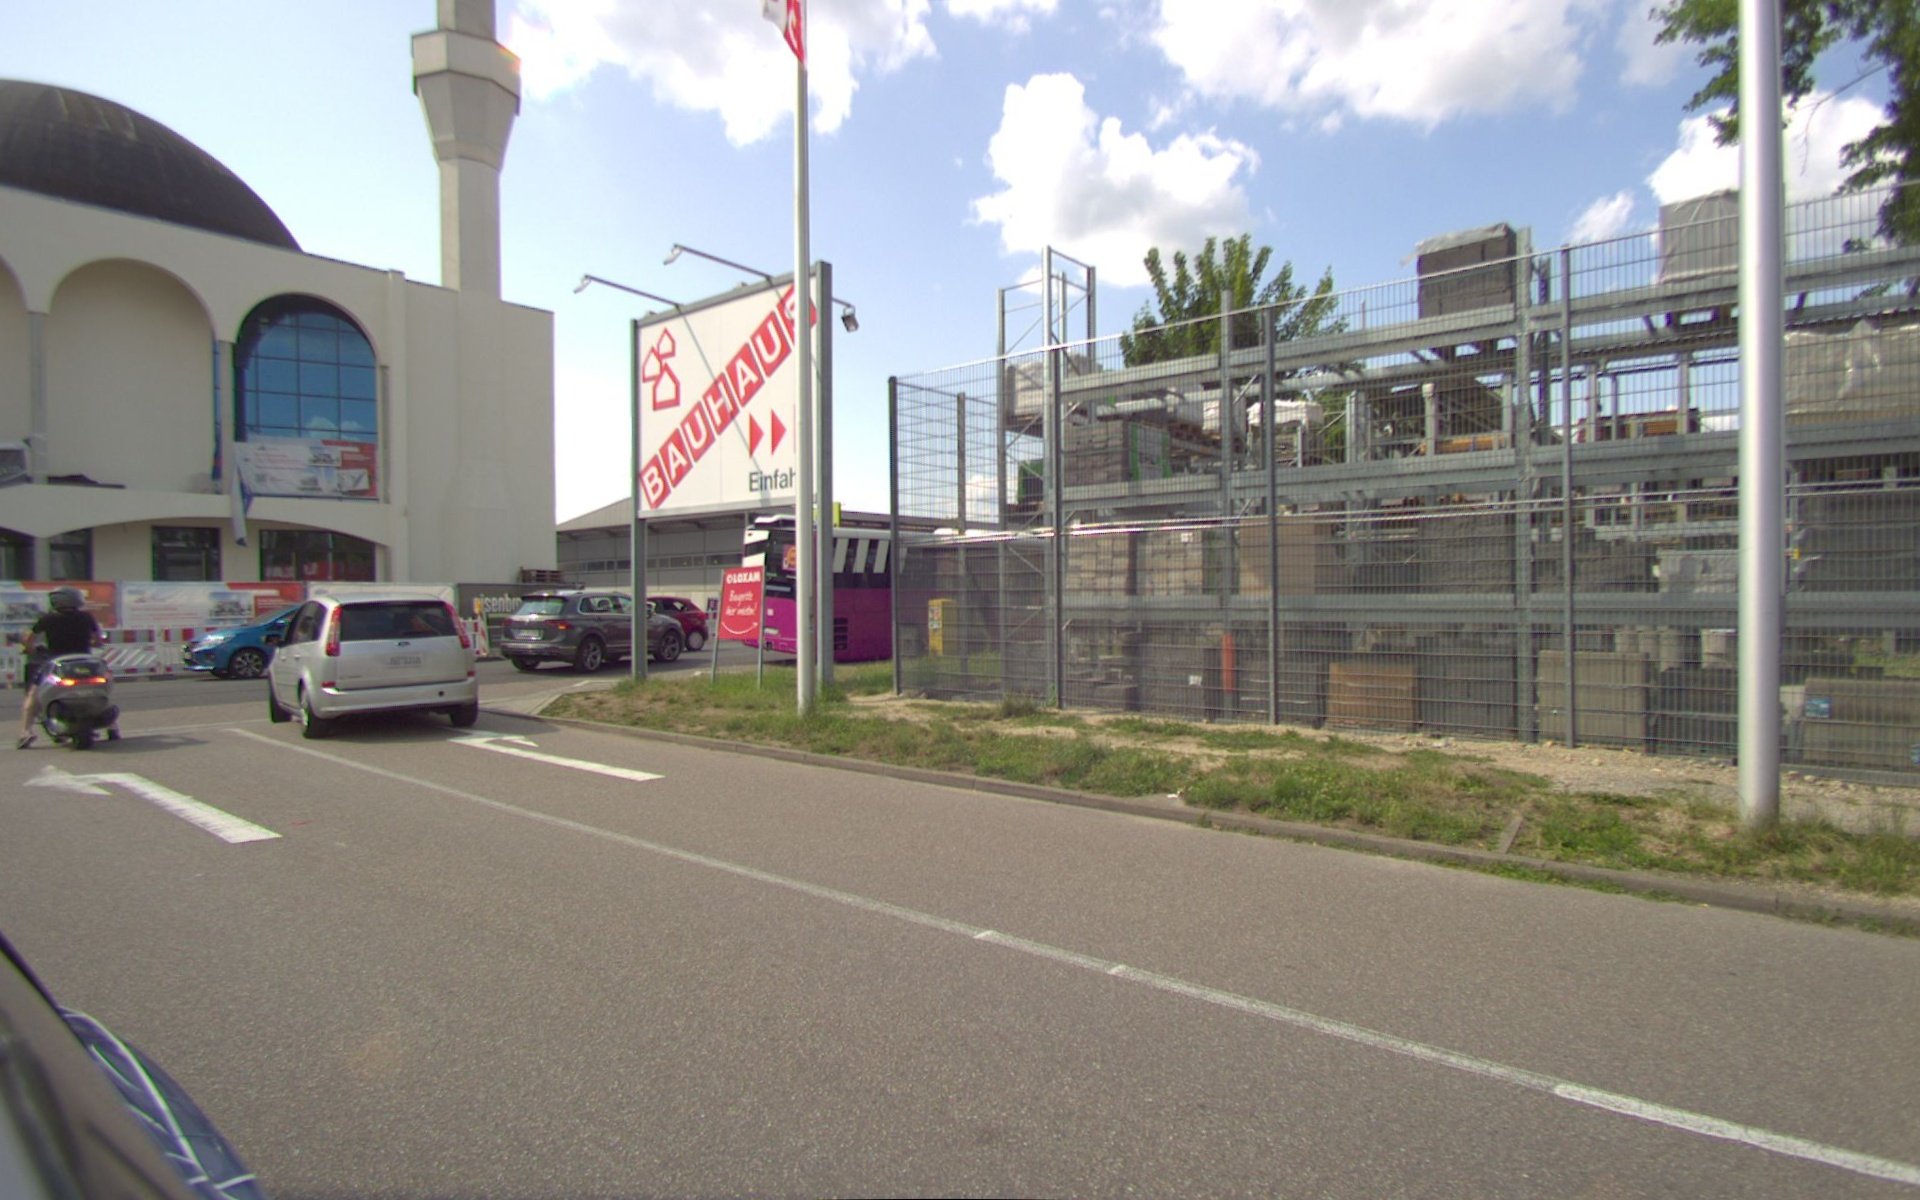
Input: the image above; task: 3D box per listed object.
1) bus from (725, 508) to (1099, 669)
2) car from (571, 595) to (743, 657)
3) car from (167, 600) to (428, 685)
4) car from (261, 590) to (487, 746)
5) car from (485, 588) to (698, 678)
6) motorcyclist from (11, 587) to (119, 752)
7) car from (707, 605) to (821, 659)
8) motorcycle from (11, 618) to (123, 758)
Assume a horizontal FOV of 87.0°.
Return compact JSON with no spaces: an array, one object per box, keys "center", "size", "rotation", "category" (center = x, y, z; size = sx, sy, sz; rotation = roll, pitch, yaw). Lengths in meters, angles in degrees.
[{"center":[-0.638,-0.275,26.656],"size":[2.891,3.390,11.414],"rotation":[-1,0,40],"category":"bus"},{"center":[-8.055,0.648,27.215],"size":[1.790,1.521,4.137],"rotation":[-1,0,40],"category":"car"},{"center":[-13.347,0.786,20.592],"size":[1.695,1.525,4.141],"rotation":[-1,0,39],"category":"car"},{"center":[-7.305,0.694,12.407],"size":[1.696,1.576,4.216],"rotation":[-1,0,-40],"category":"car"},{"center":[-7.707,0.681,21.624],"size":[1.758,1.678,4.351],"rotation":[-3,-2,23],"category":"car"},{"center":[-9.390,0.693,10.619],"size":[0.686,1.641,0.778],"rotation":[-1,0,42],"category":"motorcyclist"},{"center":[-5.812,0.907,30.197],"size":[1.691,1.426,2.910],"rotation":[4,3,39],"category":"car"},{"center":[-9.467,0.859,10.692],"size":[2.213,1.316,0.663],"rotation":[-1,0,43],"category":"motorcycle"}]
